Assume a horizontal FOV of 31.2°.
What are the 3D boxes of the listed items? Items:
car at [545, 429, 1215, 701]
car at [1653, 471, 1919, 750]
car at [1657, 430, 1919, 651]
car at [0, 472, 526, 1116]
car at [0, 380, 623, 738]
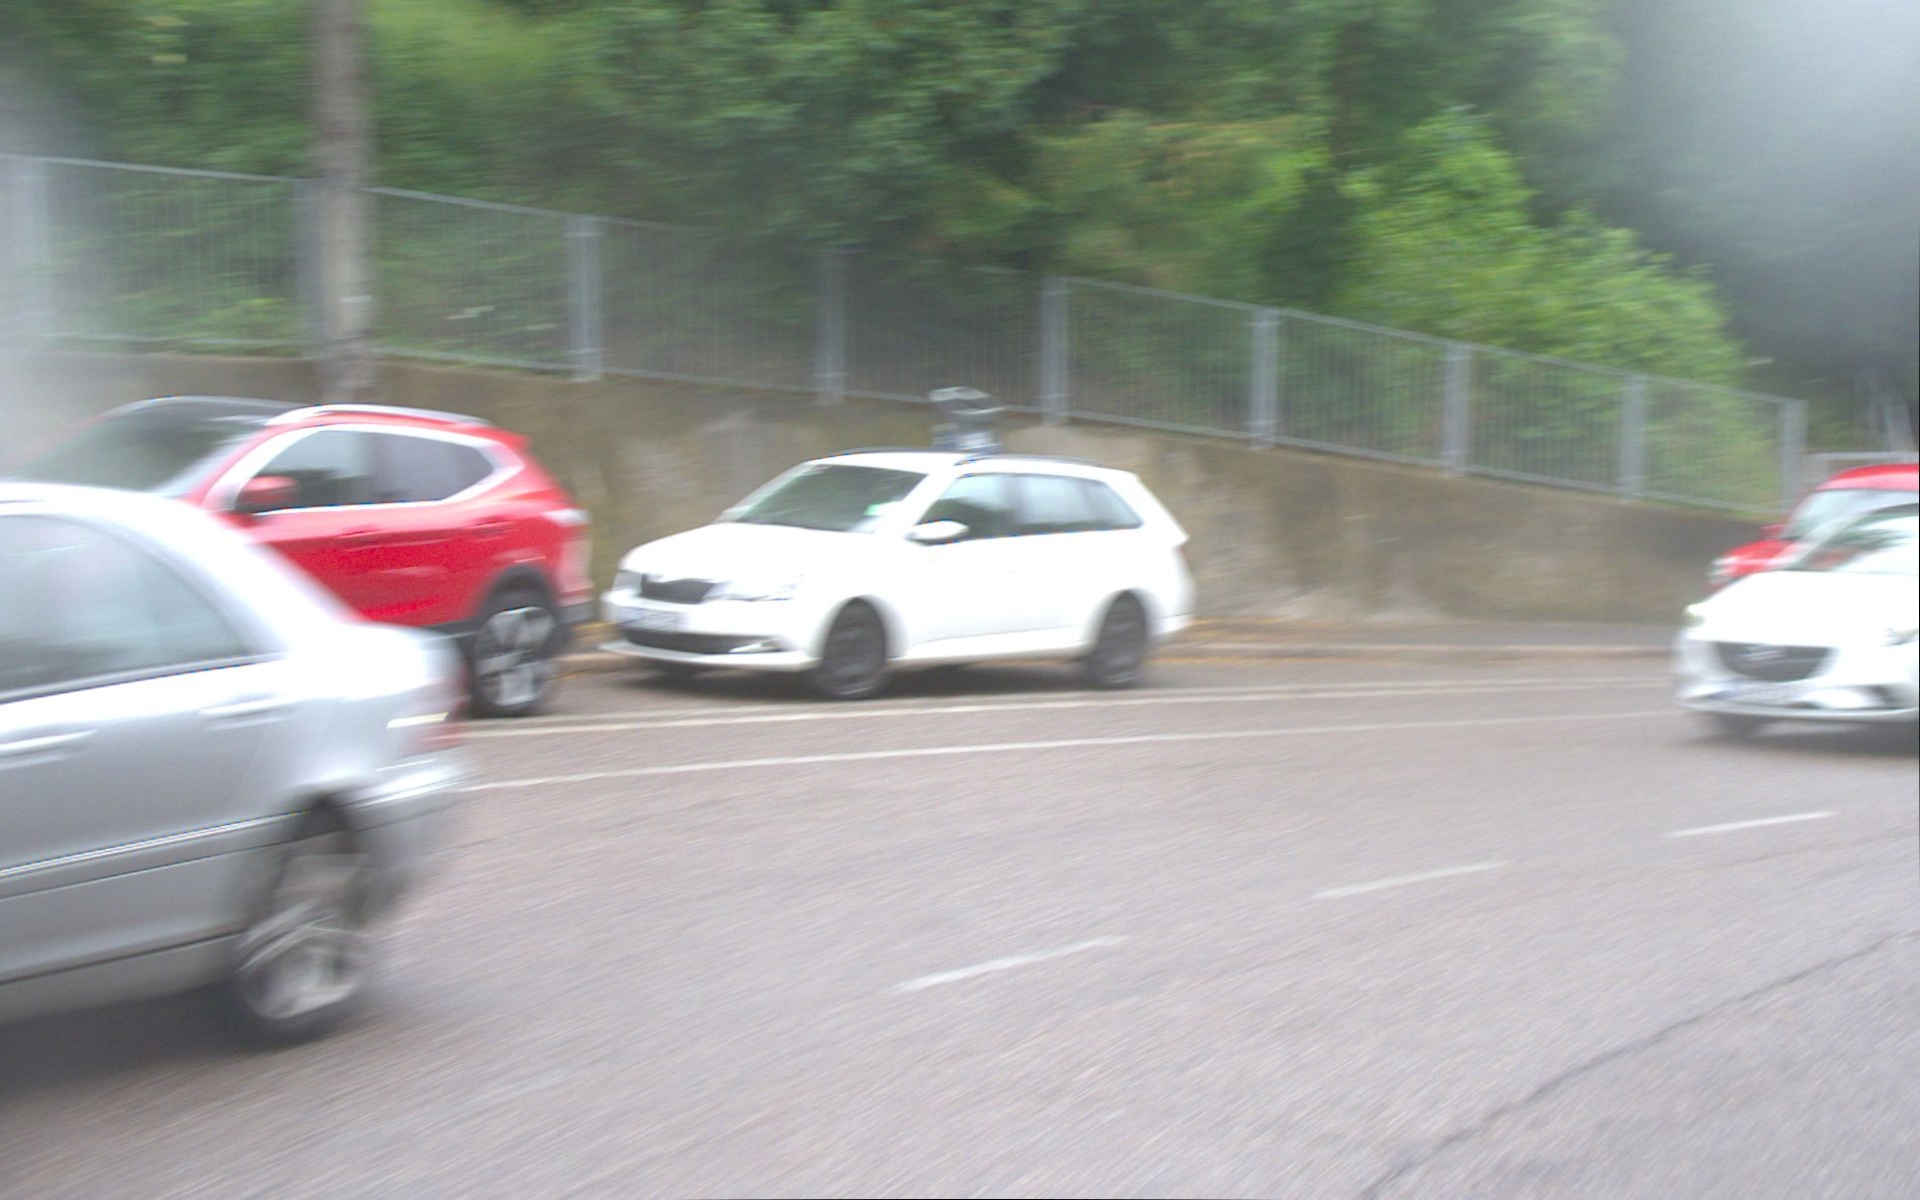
[{"bbox_3d":[-0.416,-0.270,21.656,1.742,1.473,4.188,6,5,43],"label":"car"},{"bbox_3d":[6.122,-0.004,20.932,4.022,1.490,1.607,-2,4,-42],"label":"car"},{"bbox_3d":[7.967,-0.493,29.445,4.125,1.762,1.755,0,1,-42],"label":"car"},{"bbox_3d":[-2.872,0.398,7.841,1.787,1.380,4.334,2,2,23],"label":"car"},{"bbox_3d":[-3.823,-0.273,17.349,1.779,1.580,4.424,3,3,34],"label":"car"}]
